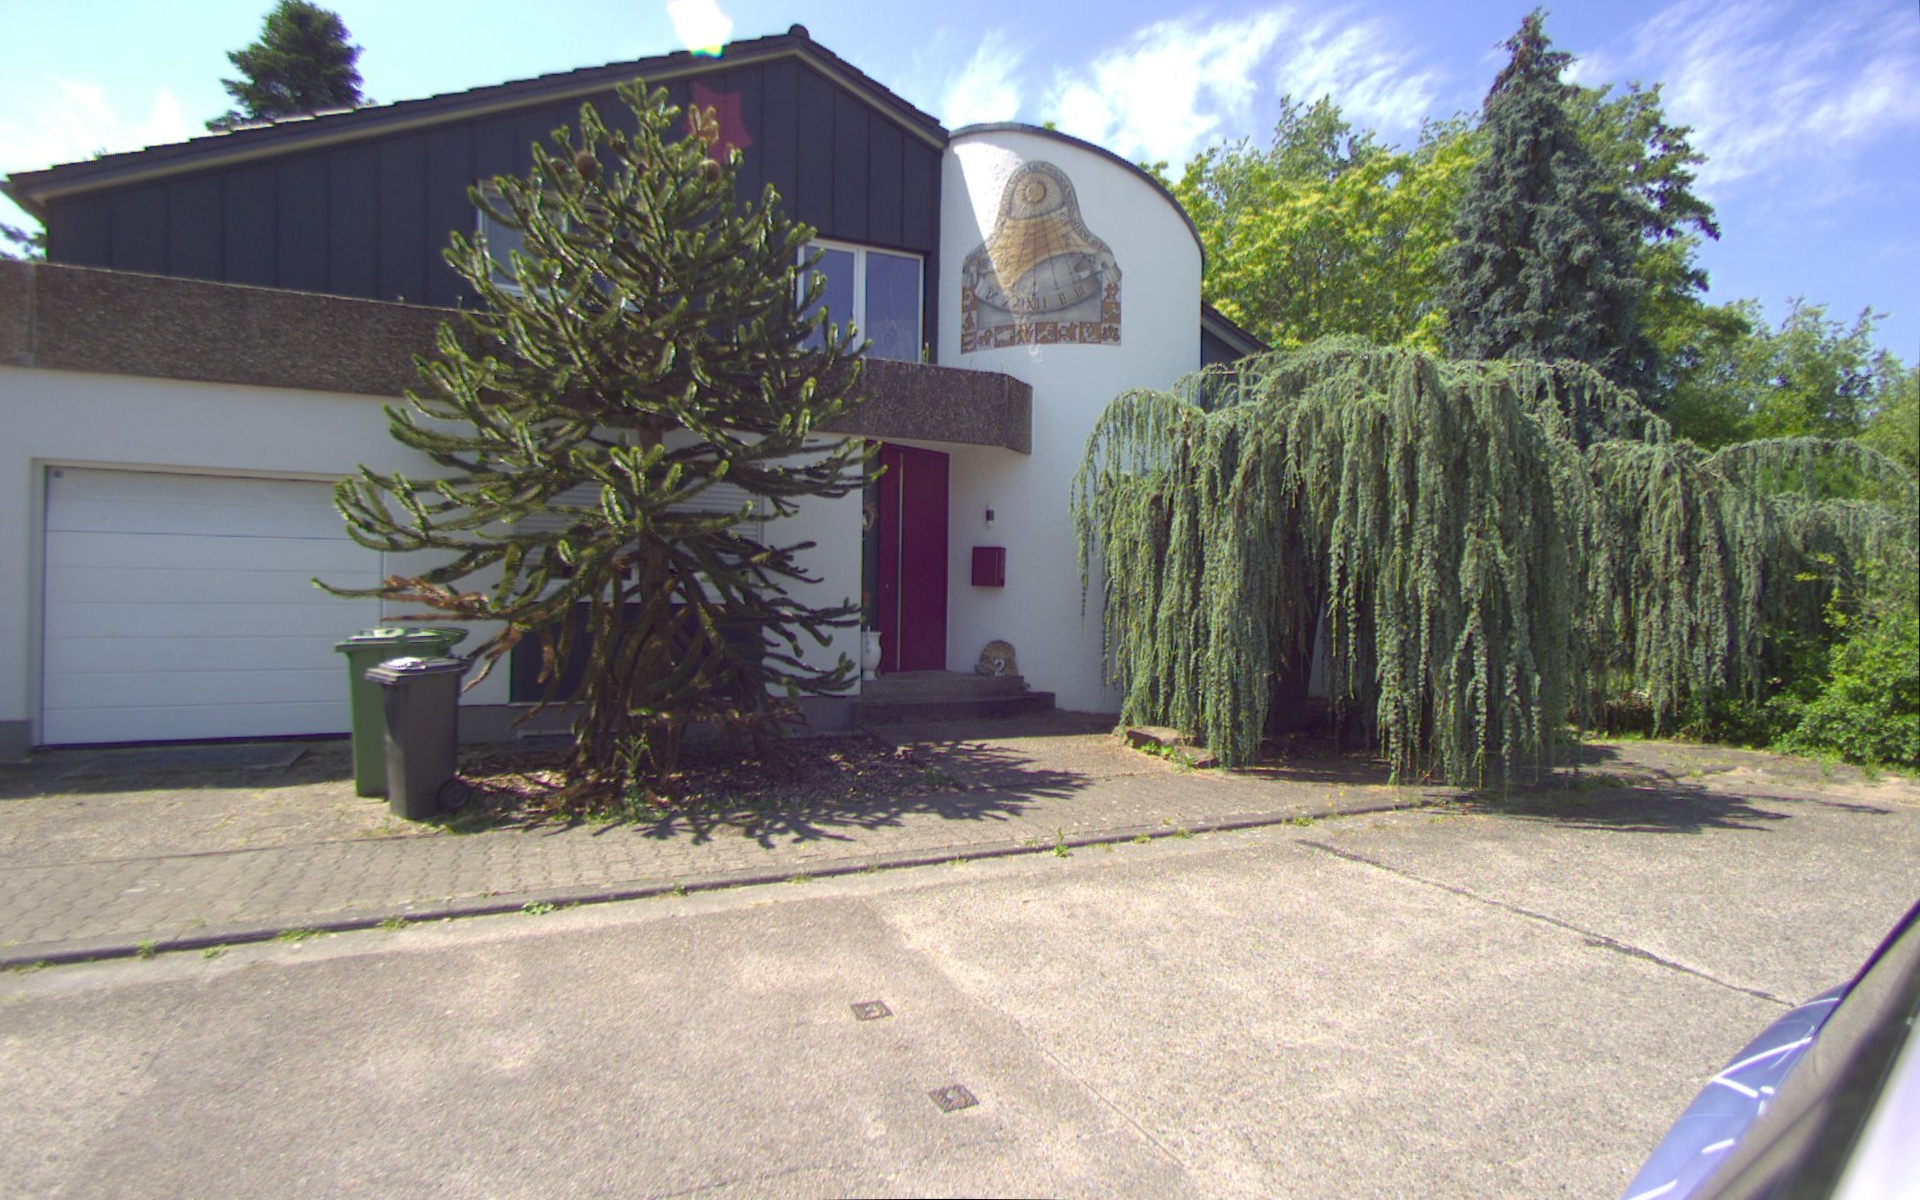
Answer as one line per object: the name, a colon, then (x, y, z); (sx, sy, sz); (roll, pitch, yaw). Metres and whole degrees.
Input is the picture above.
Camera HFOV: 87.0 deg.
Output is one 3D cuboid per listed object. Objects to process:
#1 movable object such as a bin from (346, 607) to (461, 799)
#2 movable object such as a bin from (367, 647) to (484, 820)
movable object such as a bin: (-3.735, 0.660, 6.832); (0.620, 1.219, 0.552); (1, 0, -24)
movable object such as a bin: (-3.252, 0.786, 6.169); (0.387, 0.962, 0.516); (0, 0, 39)
